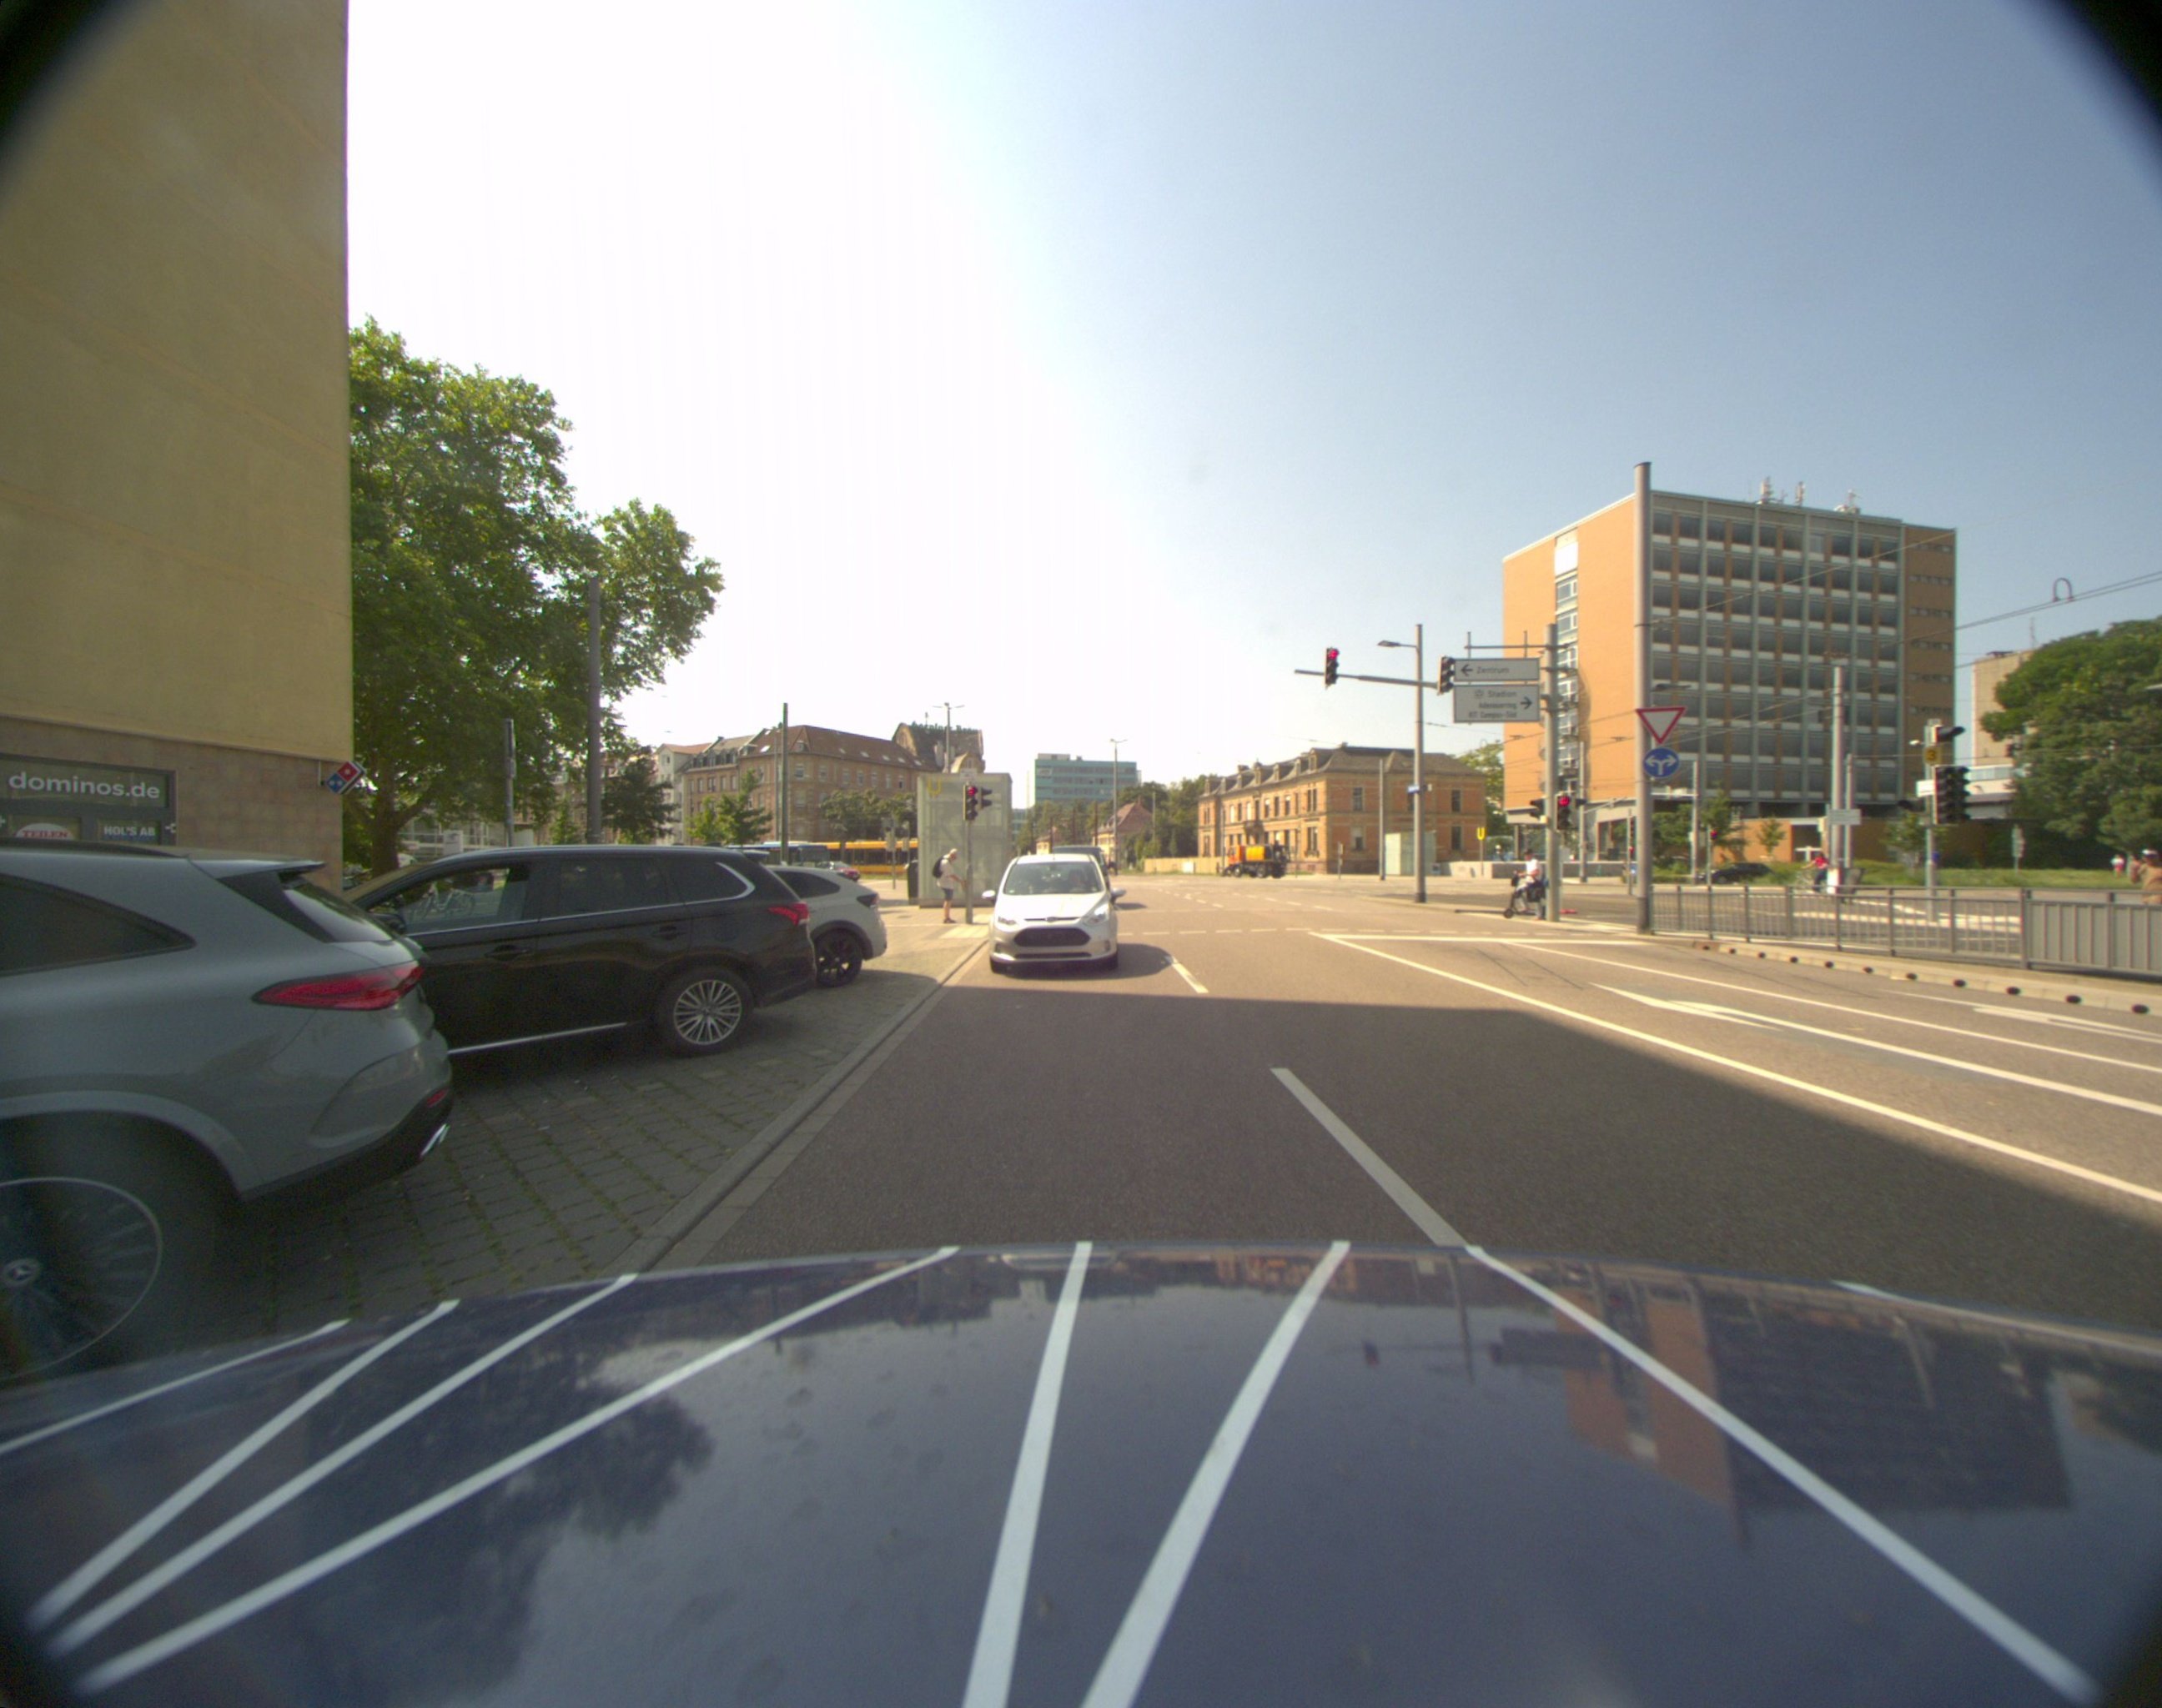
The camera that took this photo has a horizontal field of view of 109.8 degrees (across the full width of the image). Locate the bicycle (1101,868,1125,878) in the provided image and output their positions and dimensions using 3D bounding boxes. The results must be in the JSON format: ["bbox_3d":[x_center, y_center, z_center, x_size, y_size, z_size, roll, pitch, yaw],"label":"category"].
[{"bbox_3d":[2.958,1.780,70.567,2.165,0.893,0.643,0,0,22],"label":"bicycle"}]

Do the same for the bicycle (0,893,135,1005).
[{"bbox_3d":[-12.503,1.113,9.008,0.590,1.231,1.548,0,0,32],"label":"bicycle"}]

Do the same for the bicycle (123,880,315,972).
[{"bbox_3d":[-13.087,1.041,11.642,0.730,1.239,1.960,0,0,-1],"label":"bicycle"}]

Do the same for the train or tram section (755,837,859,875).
[{"bbox_3d":[-27.109,0.210,74.863,12.183,3.539,2.601,0,0,32],"label":"train or tram section"}]

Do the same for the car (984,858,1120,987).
[{"bbox_3d":[-0.344,0.868,11.663,1.691,1.585,4.361,0,0,0],"label":"car"}]

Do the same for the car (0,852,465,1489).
[{"bbox_3d":[-4.590,0.850,1.860,4.675,1.703,2.038,0,0,-42],"label":"car"}]

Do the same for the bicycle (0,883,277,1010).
[{"bbox_3d":[-12.336,1.089,9.264,3.370,1.396,0.902,0,0,-37],"label":"bicycle"}]

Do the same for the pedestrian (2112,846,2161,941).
[{"bbox_3d":[19.015,0.700,13.396,0.574,1.648,0.800,0,-2,-19],"label":"pedestrian"}]

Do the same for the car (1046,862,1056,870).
[{"bbox_3d":[-7.087,2.839,179.361,2.000,1.673,3.998,0,-2,-9],"label":"car"}]

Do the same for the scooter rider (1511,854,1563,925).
[{"bbox_3d":[10.947,0.835,18.255,0.773,1.663,0.779,0,0,-4],"label":"scooter rider"}]

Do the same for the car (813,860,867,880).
[{"bbox_3d":[-18.544,1.212,58.497,3.763,1.463,1.633,0,0,22],"label":"car"}]

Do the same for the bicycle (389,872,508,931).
[{"bbox_3d":[-14.792,1.075,17.888,0.794,1.231,2.435,0,0,-1],"label":"bicycle"}]

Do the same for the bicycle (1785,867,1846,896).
[{"bbox_3d":[28.496,1.067,29.525,0.614,1.063,1.913,0,0,3],"label":"bicycle"}]

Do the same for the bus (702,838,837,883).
[{"bbox_3d":[-22.791,0.506,55.146,12.048,3.046,2.740,-1,-1,33],"label":"bus"}]

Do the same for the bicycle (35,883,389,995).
[{"bbox_3d":[-12.674,1.172,11.359,3.370,1.396,0.902,0,0,-37],"label":"bicycle"}]

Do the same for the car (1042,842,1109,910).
[{"bbox_3d":[-0.130,0.635,23.969,1.899,1.919,4.886,0,0,1],"label":"car"}]

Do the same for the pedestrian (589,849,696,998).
[{"bbox_3d":[-5.366,0.807,9.375,1.039,1.694,0.902,-2,0,-27],"label":"pedestrian"}]

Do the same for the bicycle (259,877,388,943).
[{"bbox_3d":[-14.419,1.049,14.499,1.727,1.199,0.589,0,0,-7],"label":"bicycle"}]

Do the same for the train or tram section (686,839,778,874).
[{"bbox_3d":[-37.490,0.254,81.246,12.183,3.539,2.601,0,0,32],"label":"train or tram section"}]

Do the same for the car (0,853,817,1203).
[{"bbox_3d":[-4.498,0.836,5.585,4.402,1.677,1.981,0,0,-42],"label":"car"}]

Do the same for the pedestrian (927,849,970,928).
[{"bbox_3d":[-3.114,0.807,17.977,0.821,1.797,0.814,-2,0,0],"label":"pedestrian"}]

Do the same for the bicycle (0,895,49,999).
[{"bbox_3d":[-13.227,1.125,8.692,0.409,1.231,1.827,0,0,-3],"label":"bicycle"}]

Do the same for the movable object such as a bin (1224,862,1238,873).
[{"bbox_3d":[15.261,1.341,77.250,1.035,1.078,0.822,-2,-2,41],"label":"movable object such as a bin"}]

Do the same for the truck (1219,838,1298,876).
[{"bbox_3d":[16.331,0.355,70.441,3.048,3.209,7.175,1,-3,-31],"label":"truck"}]

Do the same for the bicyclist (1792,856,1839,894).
[{"bbox_3d":[28.479,0.804,29.459,0.877,1.451,0.980,0,0,3],"label":"bicyclist"}]

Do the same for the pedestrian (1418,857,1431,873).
[{"bbox_3d":[30.539,0.979,67.552,0.847,1.386,0.787,0,0,2],"label":"pedestrian"}]

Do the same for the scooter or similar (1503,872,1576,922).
[{"bbox_3d":[10.990,1.021,18.237,1.341,1.142,0.709,0,0,-2],"label":"scooter or similar"}]

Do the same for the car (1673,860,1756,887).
[{"bbox_3d":[44.289,1.404,53.258,3.991,1.782,2.004,-1,-2,19],"label":"car"}]

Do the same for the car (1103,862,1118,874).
[{"bbox_3d":[5.102,2.421,132.847,2.000,2.001,3.999,0,-2,-6],"label":"car"}]

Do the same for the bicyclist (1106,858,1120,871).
[{"bbox_3d":[2.944,0.975,70.547,1.103,1.258,0.858,0,0,20],"label":"bicyclist"}]

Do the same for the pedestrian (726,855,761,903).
[{"bbox_3d":[-11.336,0.823,25.577,0.793,1.599,0.949,0,1,-4],"label":"pedestrian"}]

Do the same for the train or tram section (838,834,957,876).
[{"bbox_3d":[-16.739,0.146,68.483,12.183,3.539,2.601,0,0,32],"label":"train or tram section"}]

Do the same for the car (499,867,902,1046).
[{"bbox_3d":[-4.254,0.981,8.796,3.793,1.491,1.802,-2,-1,-41],"label":"car"}]

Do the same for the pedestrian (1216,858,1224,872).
[{"bbox_3d":[14.234,1.134,77.752,0.815,1.343,0.720,0,0,7],"label":"pedestrian"}]
